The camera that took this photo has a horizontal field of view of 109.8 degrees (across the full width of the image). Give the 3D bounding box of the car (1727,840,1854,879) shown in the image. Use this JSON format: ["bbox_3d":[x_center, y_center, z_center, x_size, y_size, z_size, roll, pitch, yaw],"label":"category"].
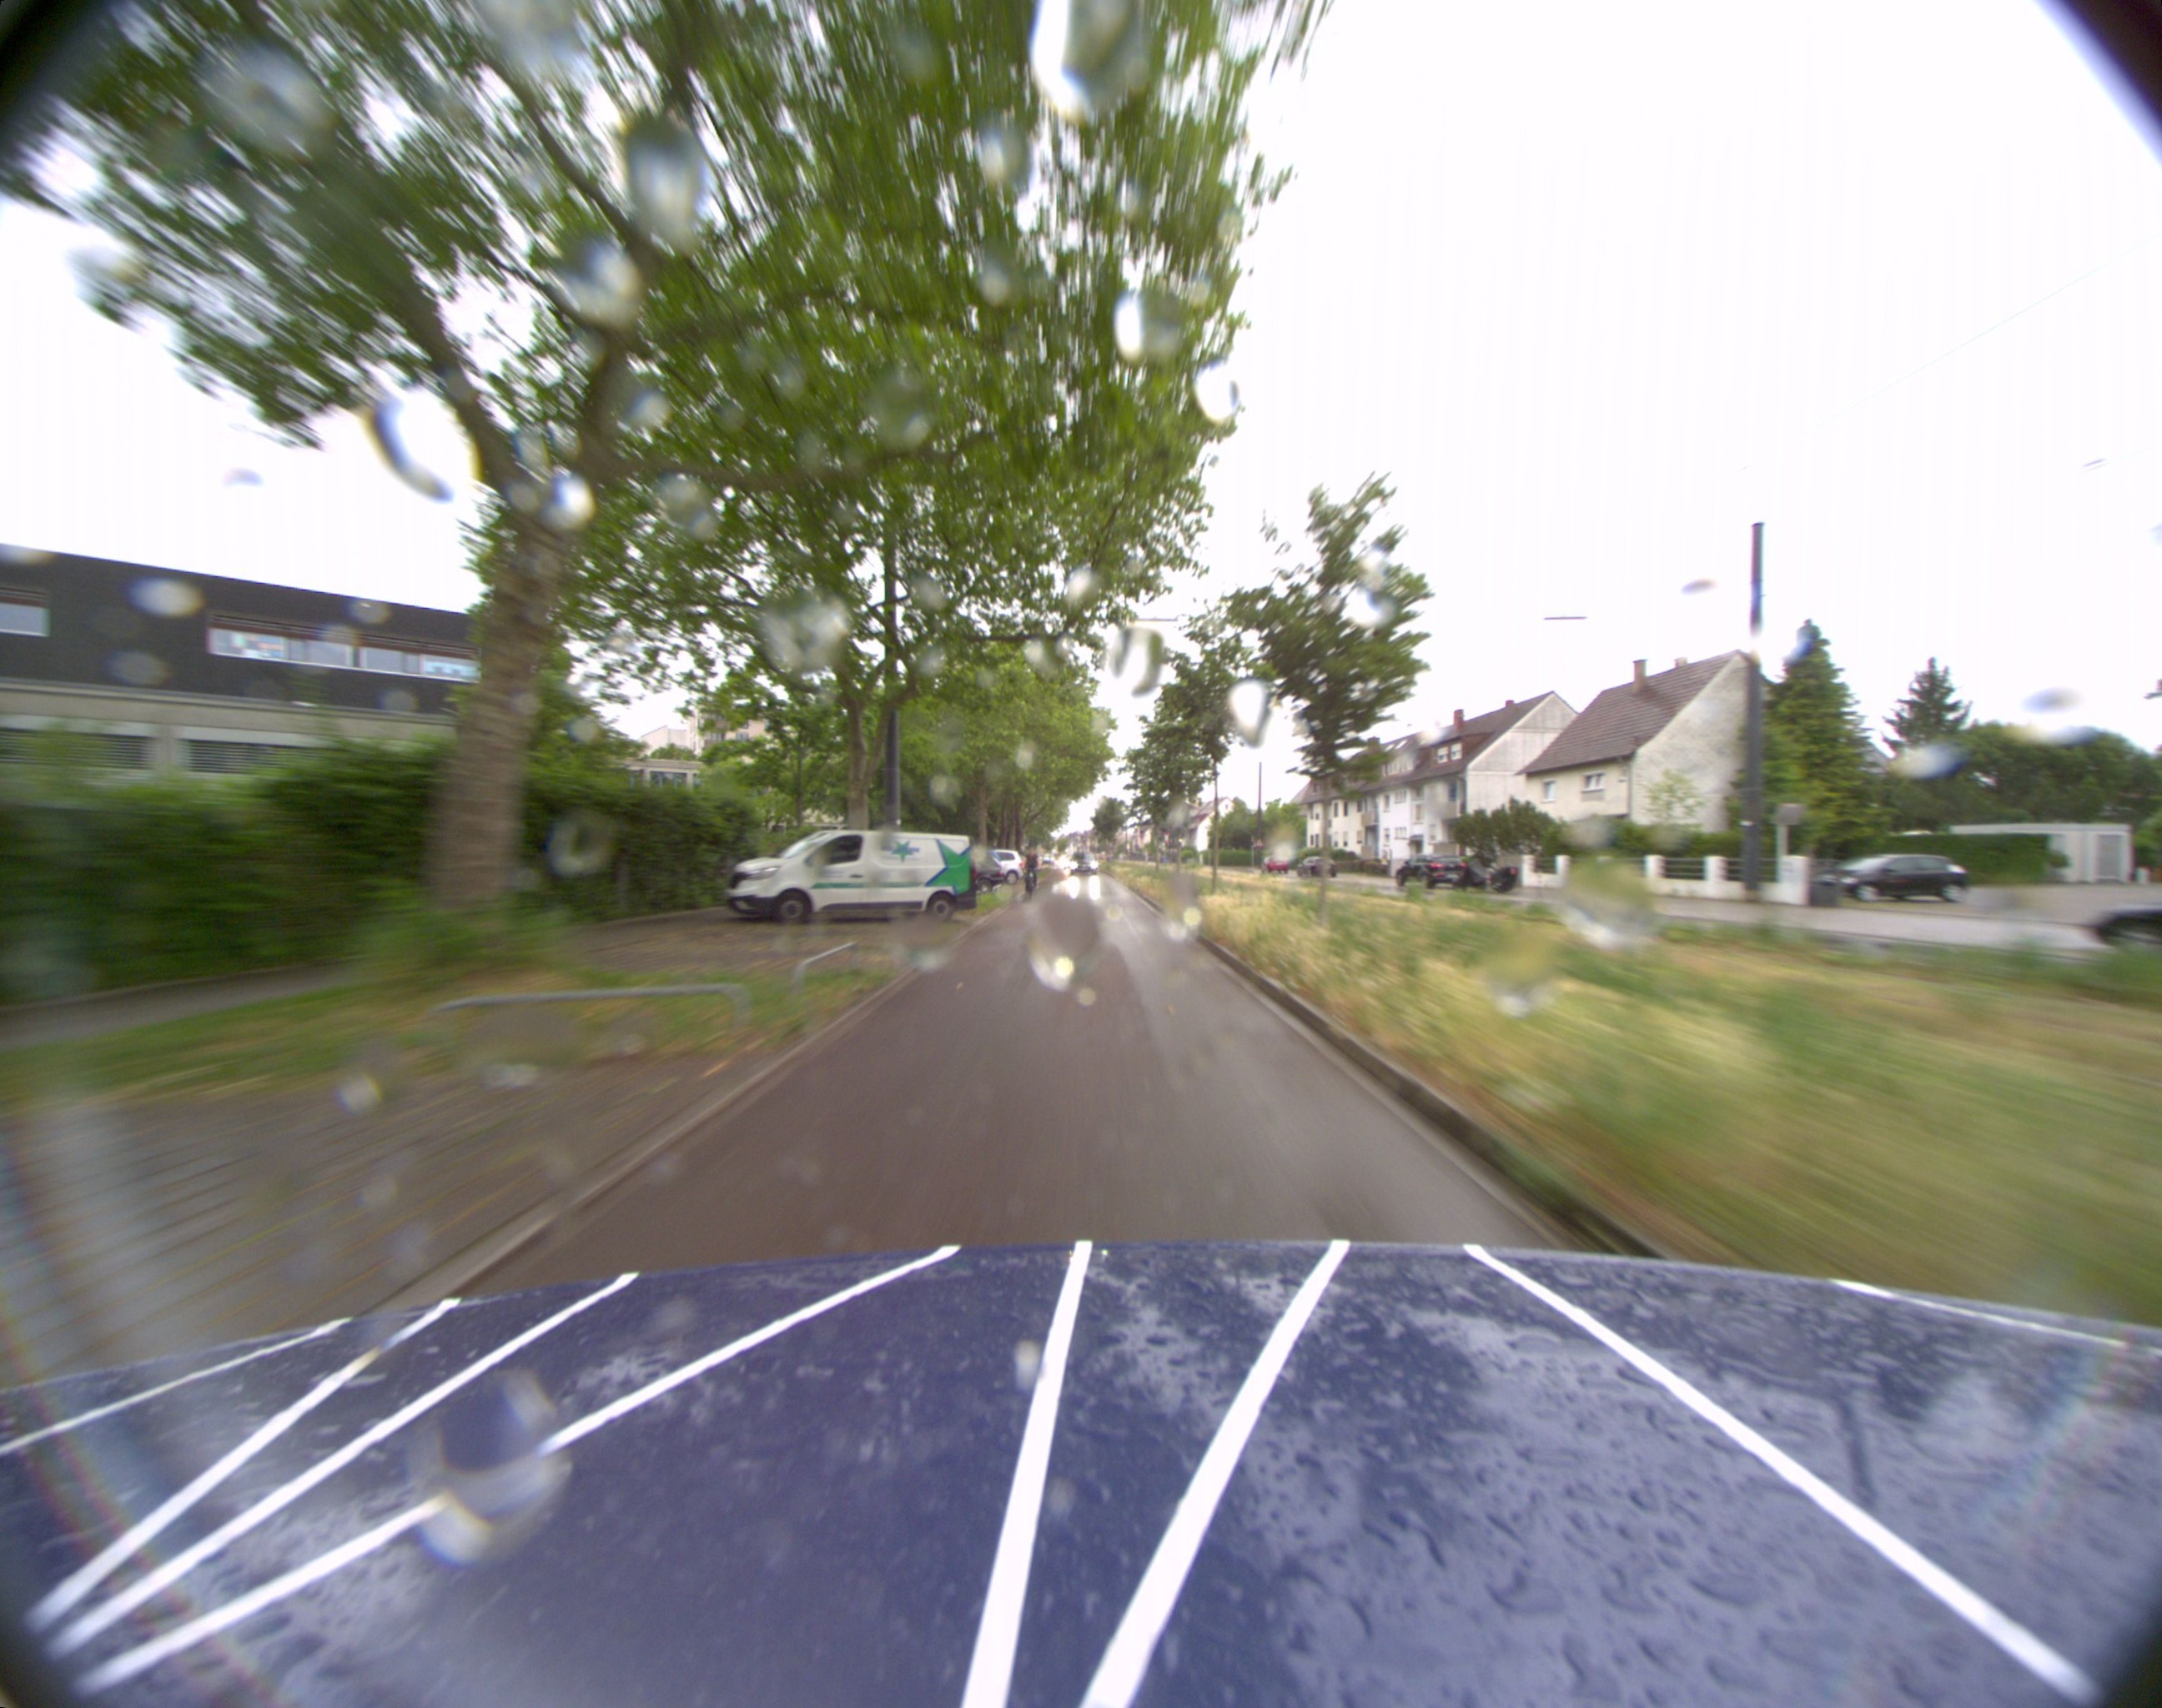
[{"bbox_3d":[30.880,0.236,33.151,3.968,1.531,1.704,-1,0,-1],"label":"car"}]

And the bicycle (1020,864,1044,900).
[{"bbox_3d":[-1.634,0.923,25.786,0.675,1.136,2.445,-2,0,-1],"label":"bicycle"}]

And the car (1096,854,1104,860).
[{"bbox_3d":[5.732,0.940,231.291,2.000,2.002,3.997,1,0,-8],"label":"car"}]

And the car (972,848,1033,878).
[{"bbox_3d":[-4.310,0.493,41.734,2.910,1.458,1.599,2,1,-29],"label":"car"}]

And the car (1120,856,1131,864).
[{"bbox_3d":[10.721,1.452,183.698,2.000,2.002,3.998,1,0,-6],"label":"car"}]

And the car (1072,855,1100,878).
[{"bbox_3d":[0.332,0.864,54.208,1.781,1.477,3.999,3,0,-1],"label":"car"}]

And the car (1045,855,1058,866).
[{"bbox_3d":[-4.275,0.996,111.938,1.781,1.477,3.999,3,0,-1],"label":"car"}]

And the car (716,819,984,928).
[{"bbox_3d":[-4.823,0.446,16.222,5.040,2.001,1.995,2,-1,-35],"label":"car"}]

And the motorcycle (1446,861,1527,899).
[{"bbox_3d":[16.570,1.032,31.087,2.680,1.403,1.269,0,2,42],"label":"motorcycle"}]

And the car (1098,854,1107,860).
[{"bbox_3d":[6.399,0.896,225.957,2.000,2.002,3.997,1,0,-8],"label":"car"}]

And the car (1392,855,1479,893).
[{"bbox_3d":[16.763,0.884,36.182,1.999,1.665,4.386,0,0,-2],"label":"car"}]

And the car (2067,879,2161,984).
[{"bbox_3d":[16.379,1.112,9.605,1.998,1.447,4.532,-1,0,2],"label":"car"}]

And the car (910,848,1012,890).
[{"bbox_3d":[-4.639,0.593,29.510,3.412,1.509,1.845,2,1,-35],"label":"car"}]

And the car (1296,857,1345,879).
[{"bbox_3d":[16.560,0.915,52.831,1.998,1.402,4.762,-1,0,2],"label":"car"}]

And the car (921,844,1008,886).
[{"bbox_3d":[-4.980,0.482,32.568,3.282,1.662,1.588,2,1,-34],"label":"car"}]

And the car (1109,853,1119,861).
[{"bbox_3d":[8.820,0.789,205.016,2.000,2.002,3.997,1,0,-8],"label":"car"}]

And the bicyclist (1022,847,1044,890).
[{"bbox_3d":[-1.634,0.479,25.747,0.675,1.421,0.753,-2,1,-2],"label":"bicyclist"}]

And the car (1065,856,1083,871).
[{"bbox_3d":[-0.770,0.975,82.182,1.781,1.477,3.999,3,0,-1],"label":"car"}]

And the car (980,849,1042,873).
[{"bbox_3d":[-4.869,0.485,52.938,3.812,1.523,1.878,2,-1,-33],"label":"car"}]

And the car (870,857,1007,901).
[{"bbox_3d":[-4.809,0.801,25.990,4.314,1.376,1.736,0,0,-39],"label":"car"}]

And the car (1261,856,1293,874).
[{"bbox_3d":[16.541,0.940,64.367,1.802,1.448,4.001,-1,0,2],"label":"car"}]

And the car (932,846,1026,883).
[{"bbox_3d":[-4.727,0.476,35.464,4.056,1.631,1.649,1,1,-38],"label":"car"}]
